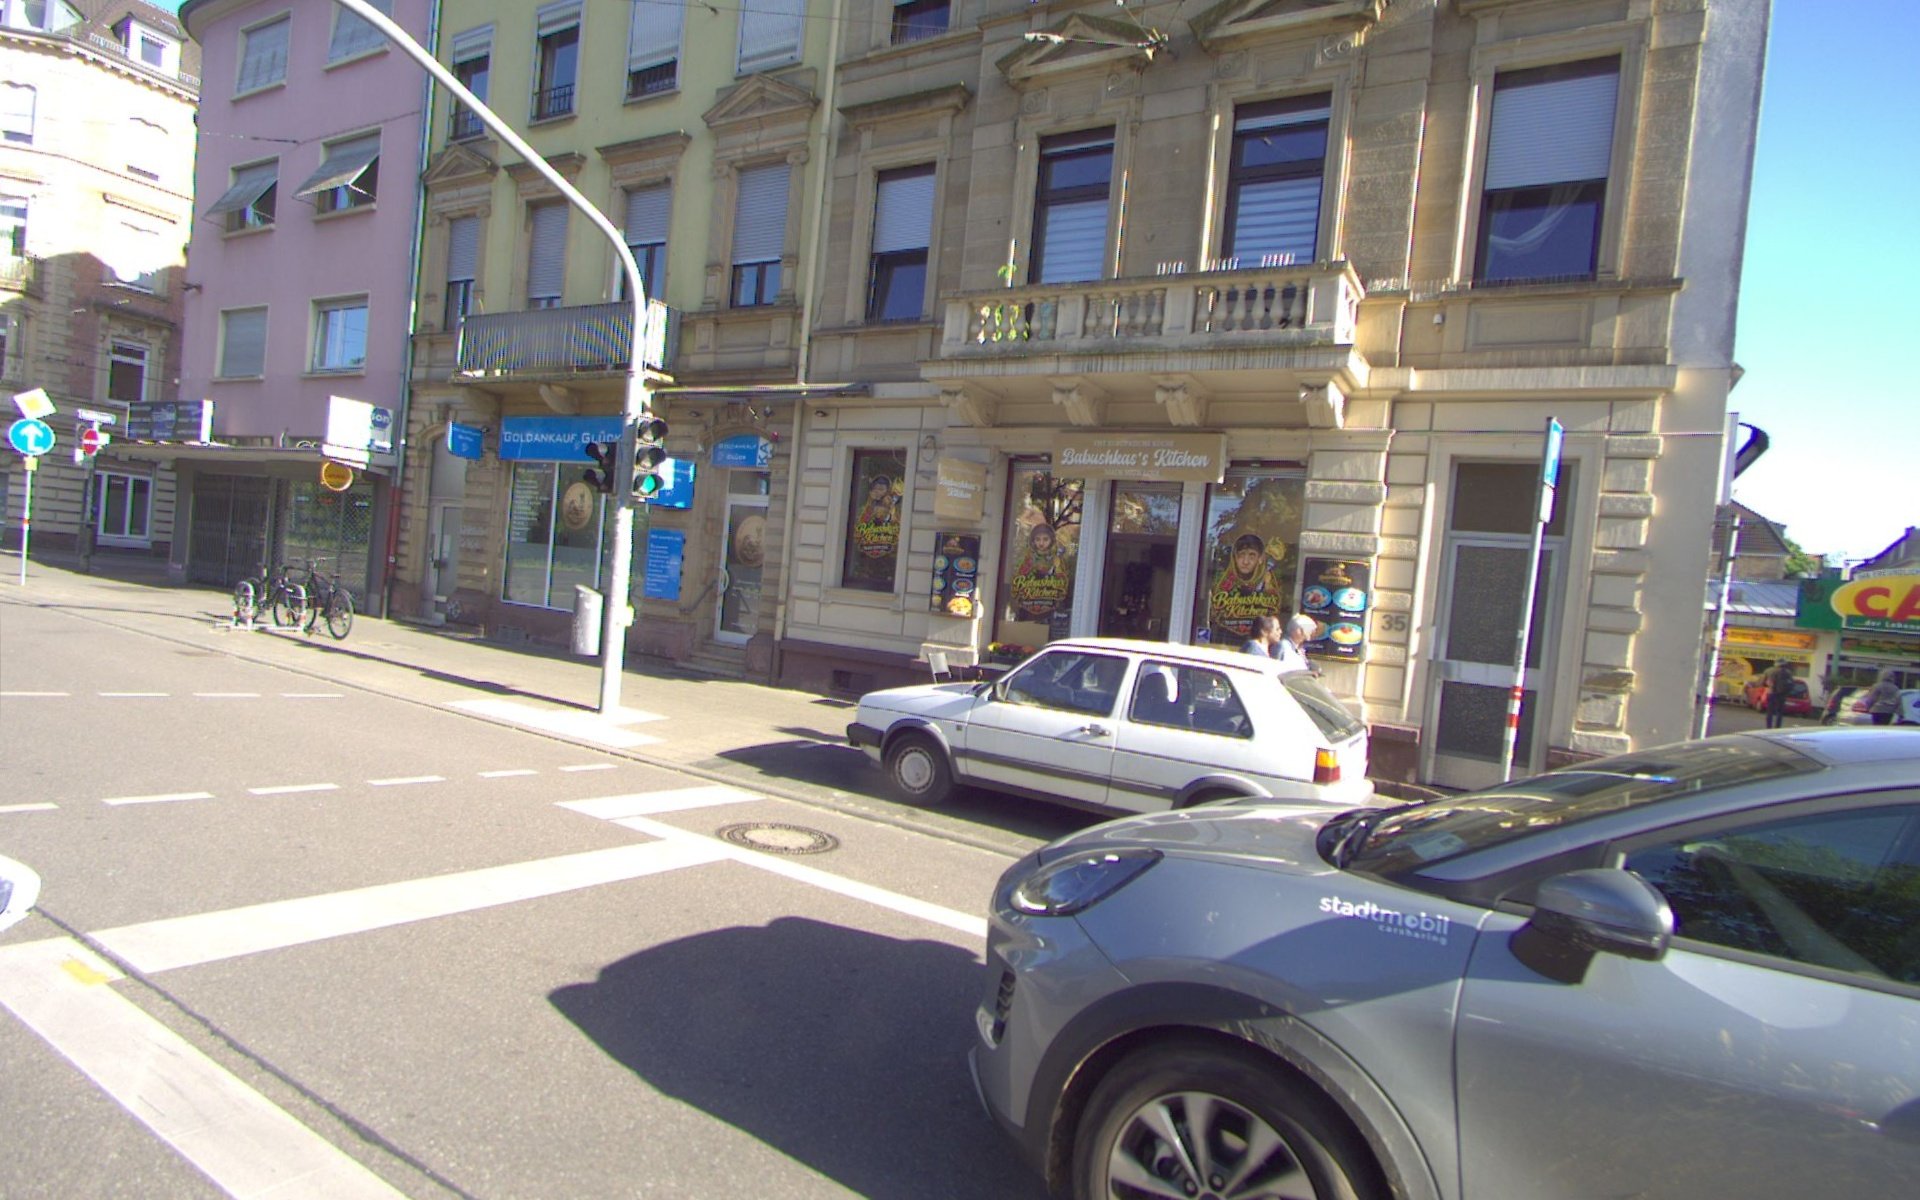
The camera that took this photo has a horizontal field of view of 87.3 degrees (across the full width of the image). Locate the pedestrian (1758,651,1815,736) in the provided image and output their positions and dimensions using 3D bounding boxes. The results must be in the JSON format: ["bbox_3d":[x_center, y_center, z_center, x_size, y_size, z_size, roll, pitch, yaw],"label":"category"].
[{"bbox_3d":[19.107,2.151,23.286,0.750,1.865,0.746,6,1,32],"label":"pedestrian"}]

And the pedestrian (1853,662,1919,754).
[{"bbox_3d":[19.091,2.213,20.741,0.749,1.778,0.512,6,1,26],"label":"pedestrian"}]

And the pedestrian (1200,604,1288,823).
[{"bbox_3d":[2.368,0.927,8.379,0.382,1.730,0.549,7,2,34],"label":"pedestrian"}]

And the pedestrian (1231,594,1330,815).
[{"bbox_3d":[2.833,0.893,8.884,0.522,1.831,0.673,7,3,31],"label":"pedestrian"}]

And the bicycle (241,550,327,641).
[{"bbox_3d":[-9.809,-0.084,14.574,1.782,1.155,0.413,6,1,38],"label":"bicycle"}]

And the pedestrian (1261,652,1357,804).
[{"bbox_3d":[3.358,1.192,9.658,0.644,1.298,0.902,6,2,26],"label":"pedestrian"}]

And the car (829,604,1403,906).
[{"bbox_3d":[1.069,0.936,7.662,3.937,1.435,1.562,6,4,31],"label":"car"}]

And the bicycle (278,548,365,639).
[{"bbox_3d":[-9.542,-0.113,14.999,1.731,1.174,0.448,7,1,37],"label":"bicycle"}]

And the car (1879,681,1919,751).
[{"bbox_3d":[23.769,2.869,22.792,3.933,1.538,1.723,6,1,31],"label":"car"}]

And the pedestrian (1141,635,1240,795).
[{"bbox_3d":[2.334,1.116,10.143,0.644,1.393,1.013,6,7,26],"label":"pedestrian"}]

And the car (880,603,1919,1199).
[{"bbox_3d":[2.153,1.039,2.114,4.305,1.546,1.701,6,-1,29],"label":"car"}]
